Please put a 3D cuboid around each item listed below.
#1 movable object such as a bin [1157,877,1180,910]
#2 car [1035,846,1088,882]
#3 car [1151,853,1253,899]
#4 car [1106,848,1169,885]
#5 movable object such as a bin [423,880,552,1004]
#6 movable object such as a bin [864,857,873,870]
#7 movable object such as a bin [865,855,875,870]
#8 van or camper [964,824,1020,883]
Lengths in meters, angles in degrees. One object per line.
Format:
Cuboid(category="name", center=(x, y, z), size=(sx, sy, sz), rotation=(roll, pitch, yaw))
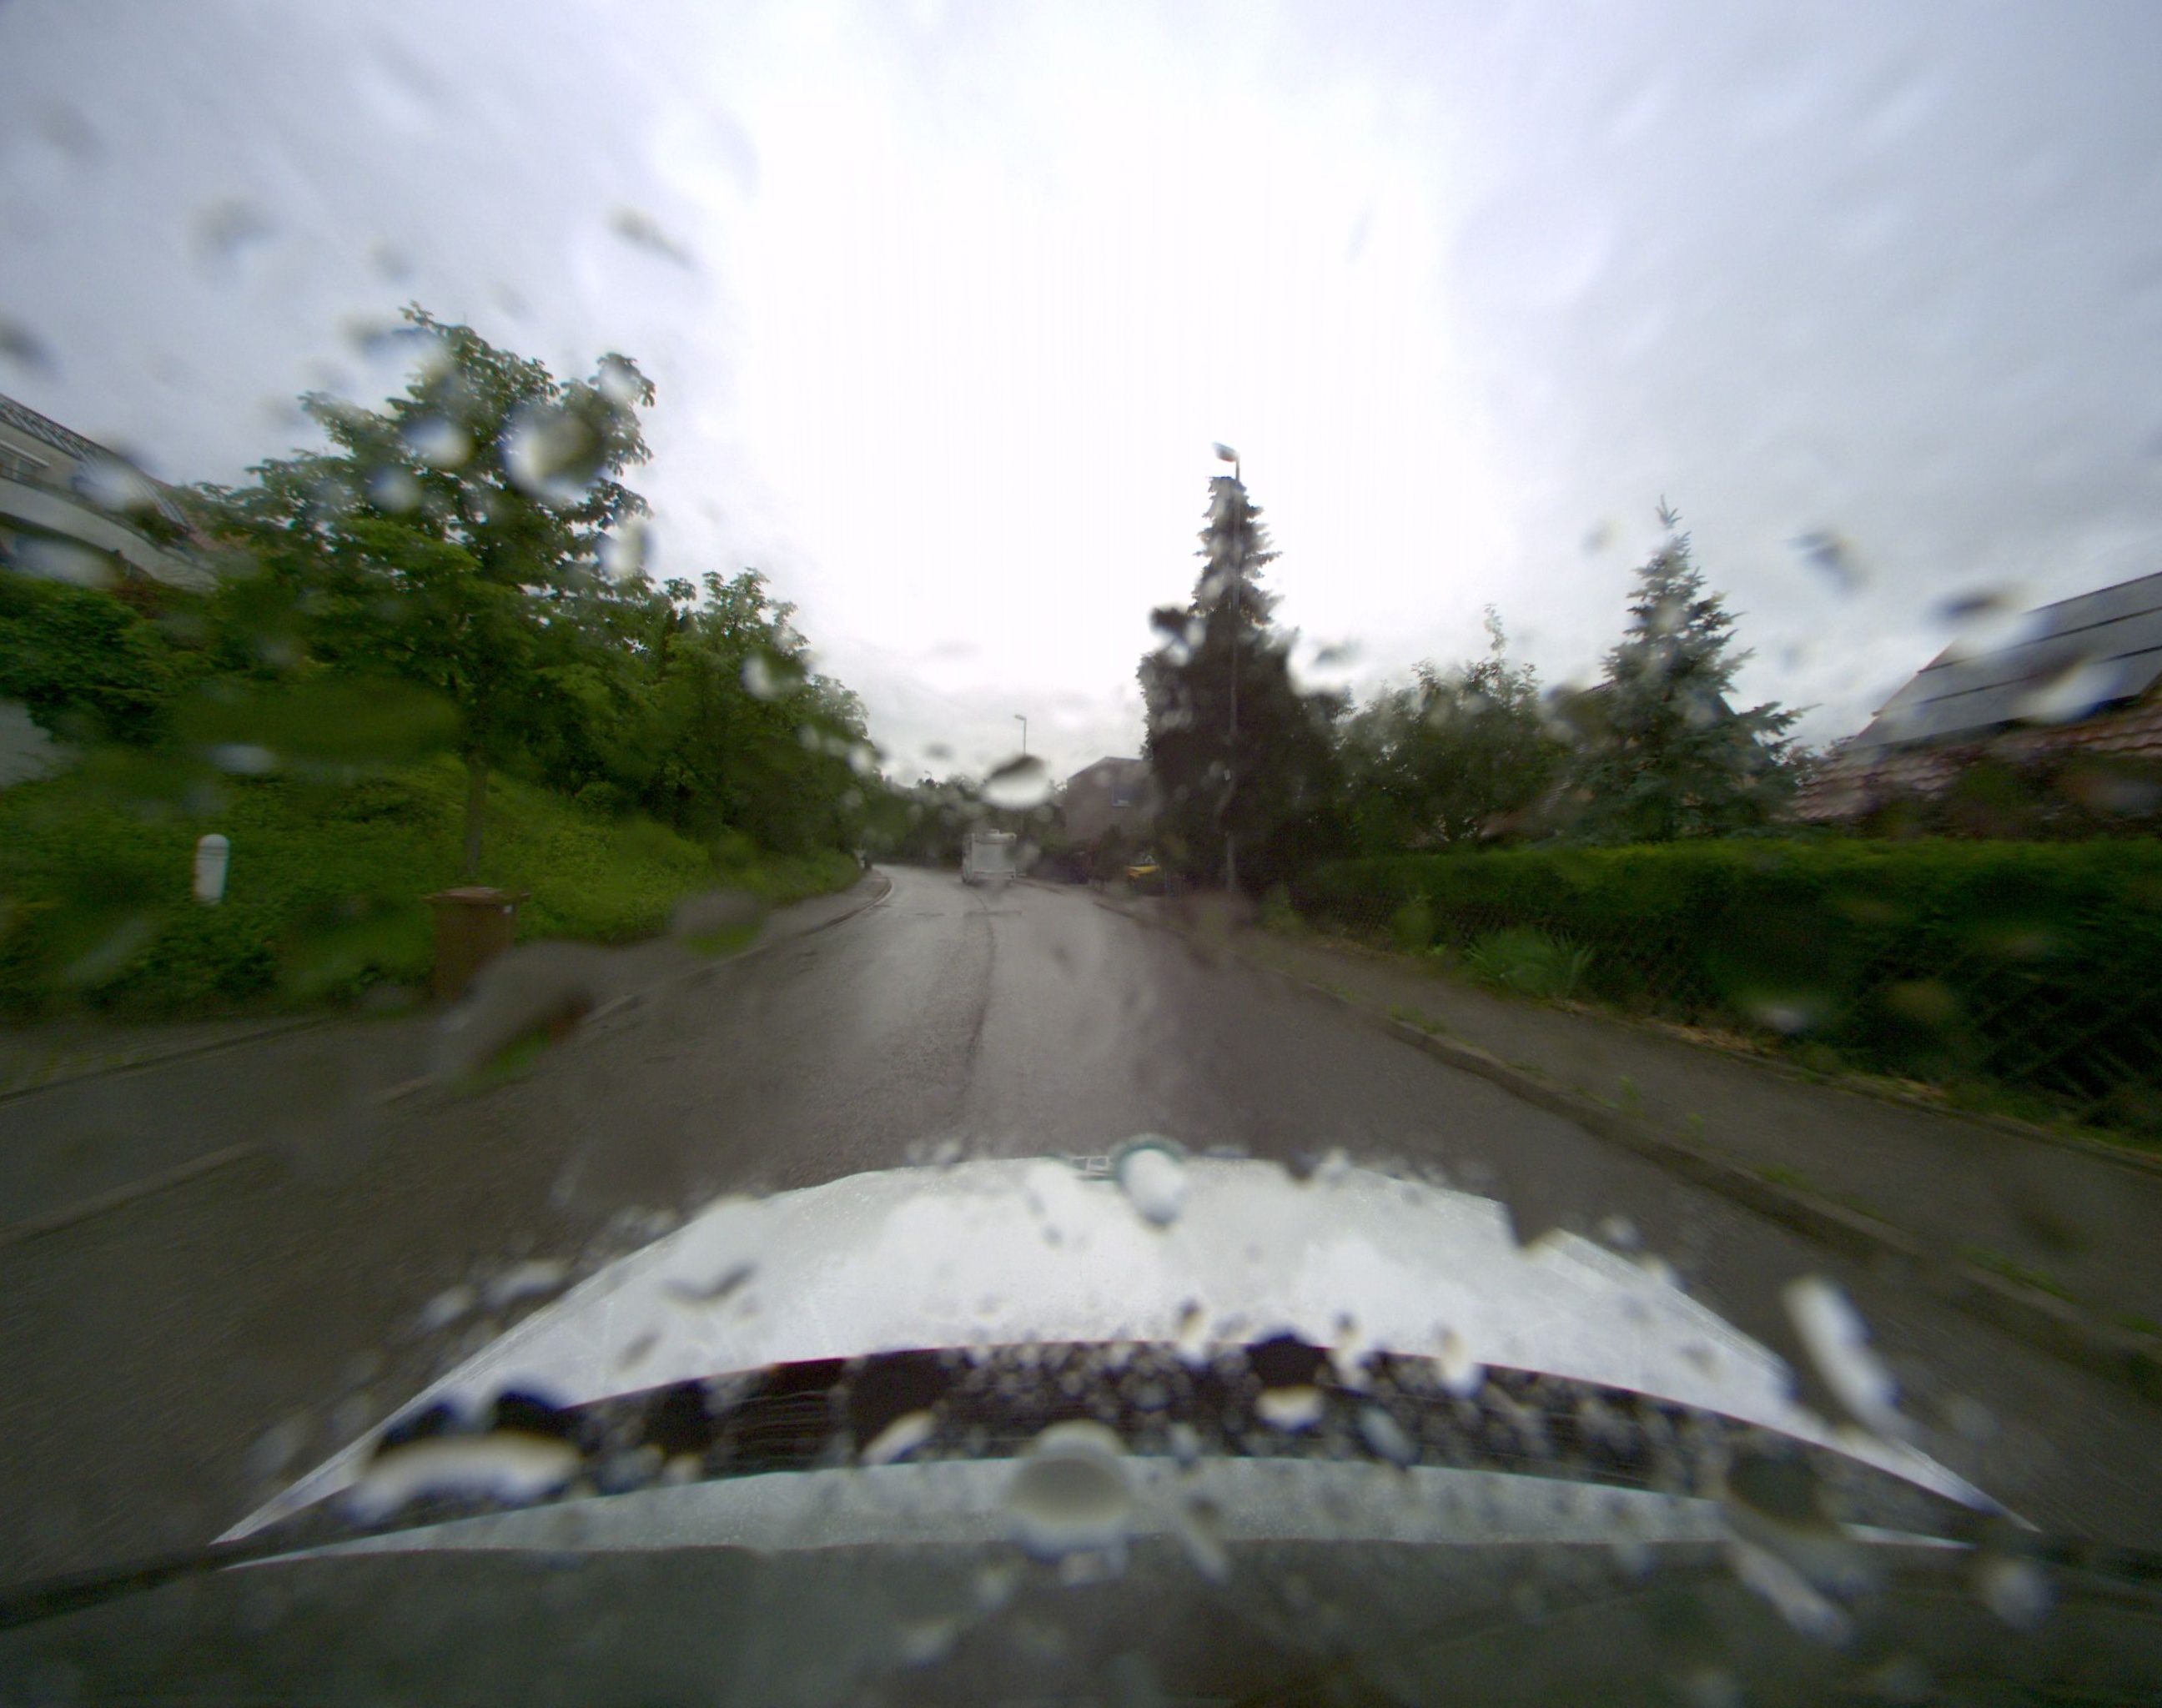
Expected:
Cuboid(category="movable object such as a bin", center=(2.761, 1.236, 25.670), size=(0.504, 0.969, 0.592), rotation=(4, -1, -11))
Cuboid(category="car", center=(-1.200, 0.636, 47.549), size=(1.997, 1.941, 4.746), rotation=(1, -3, -16))
Cuboid(category="car", center=(4.790, 0.877, 32.060), size=(3.789, 1.661, 1.757), rotation=(1, -4, -35))
Cuboid(category="car", center=(2.512, 0.565, 36.886), size=(1.632, 1.493, 3.406), rotation=(-5, 0, -17))
Cuboid(category="movable object such as a bin", center=(-5.907, 0.851, 8.145), size=(0.692, 1.090, 0.803), rotation=(3, 3, 0))
Cuboid(category="movable object such as a bin", center=(-15.382, 0.706, 58.946), size=(0.649, 0.911, 0.669), rotation=(1, -1, -17))
Cuboid(category="movable object such as a bin", center=(-15.519, 0.645, 59.770), size=(0.649, 1.081, 0.669), rotation=(1, -1, -17))
Cuboid(category="van or camper", center=(-4.845, 0.021, 43.316), size=(2.541, 2.925, 5.926), rotation=(0, -1, -11))
